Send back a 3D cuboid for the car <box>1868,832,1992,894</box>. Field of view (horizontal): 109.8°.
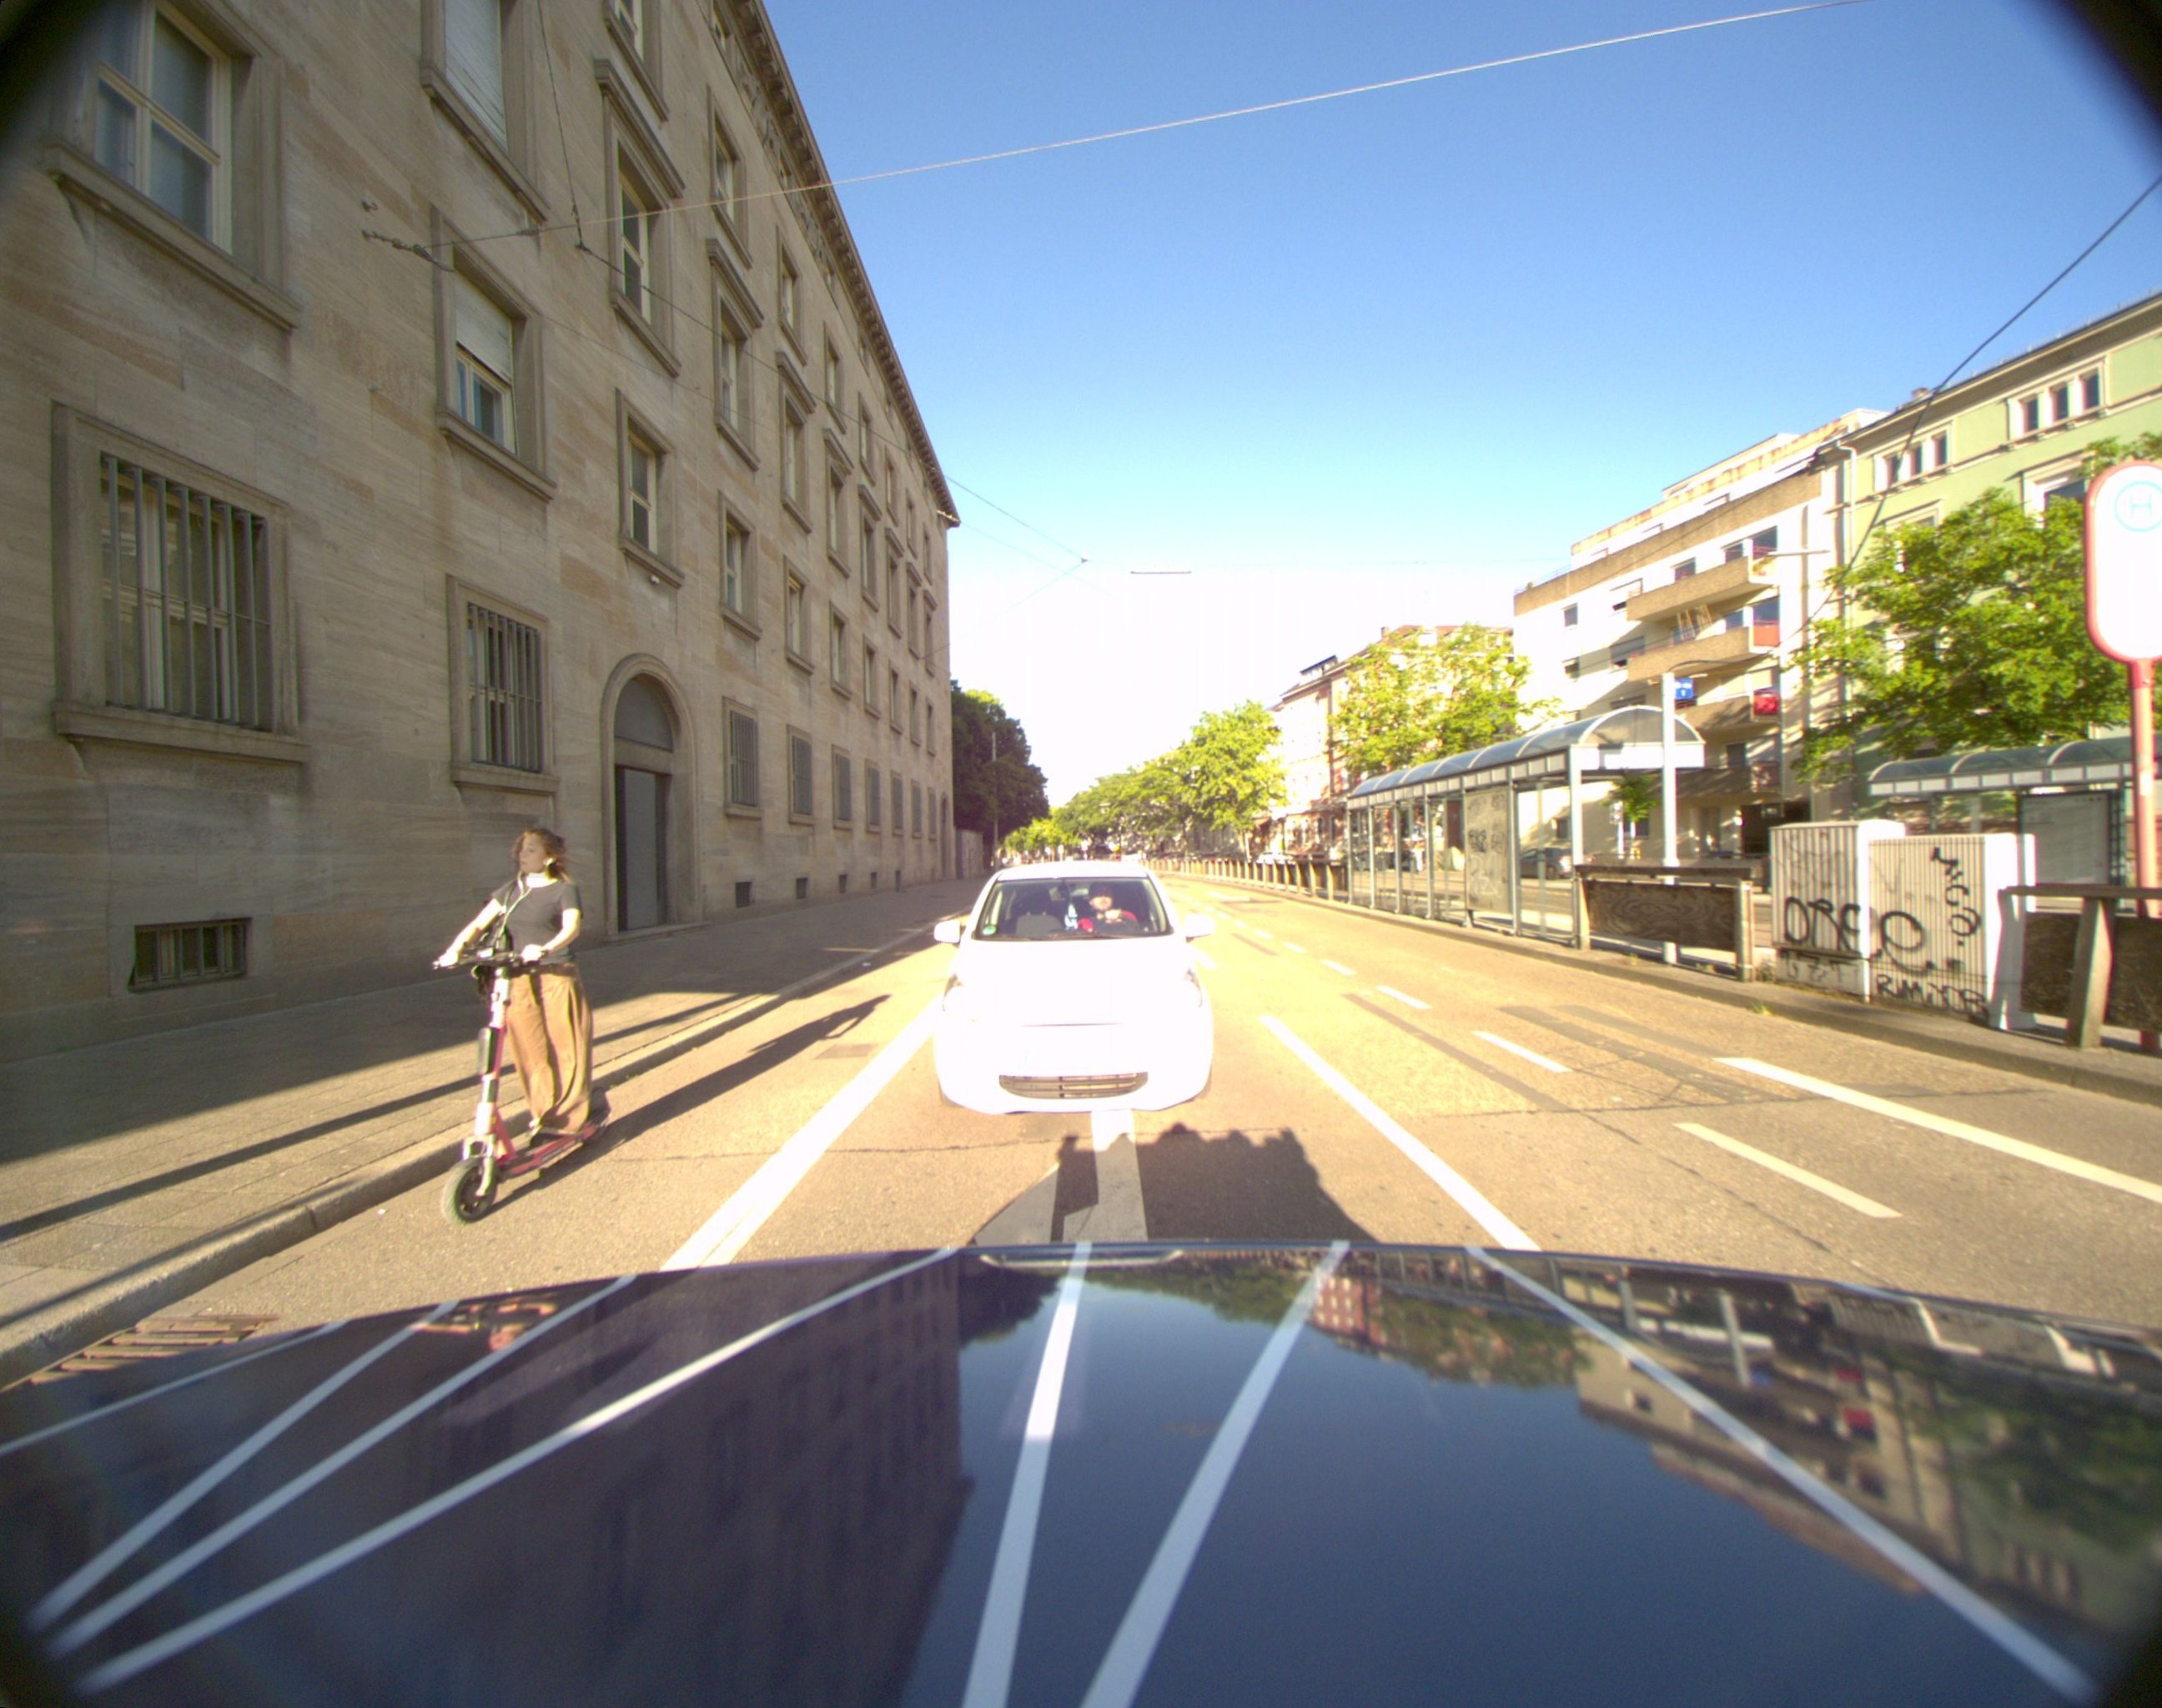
[{"bbox_3d":[24.463,0.229,21.888,3.605,1.558,1.627,-3,1,-29],"label":"car"}]

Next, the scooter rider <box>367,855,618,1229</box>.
[{"bbox_3d":[-2.794,0.843,3.669,0.731,1.661,0.556,-1,1,0],"label":"scooter rider"}]

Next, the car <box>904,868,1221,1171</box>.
[{"bbox_3d":[-0.073,0.907,5.806,1.612,1.462,3.631,-2,0,1],"label":"car"}]

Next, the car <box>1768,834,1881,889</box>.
[{"bbox_3d":[23.884,0.222,24.400,3.605,1.558,1.627,-3,1,-29],"label":"car"}]

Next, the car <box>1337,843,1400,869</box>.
[{"bbox_3d":[19.544,0.119,51.720,3.599,1.558,1.630,-2,1,-7],"label":"car"}]

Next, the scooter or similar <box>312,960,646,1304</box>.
[{"bbox_3d":[-2.776,1.200,3.689,0.536,1.178,1.328,-1,0,0],"label":"scooter or similar"}]

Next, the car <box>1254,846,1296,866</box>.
[{"bbox_3d":[16.258,0.149,63.474,3.607,1.558,1.627,-3,1,-42],"label":"car"}]

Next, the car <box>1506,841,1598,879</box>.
[{"bbox_3d":[20.915,0.228,33.930,1.631,1.558,3.598,-2,1,-5],"label":"car"}]
